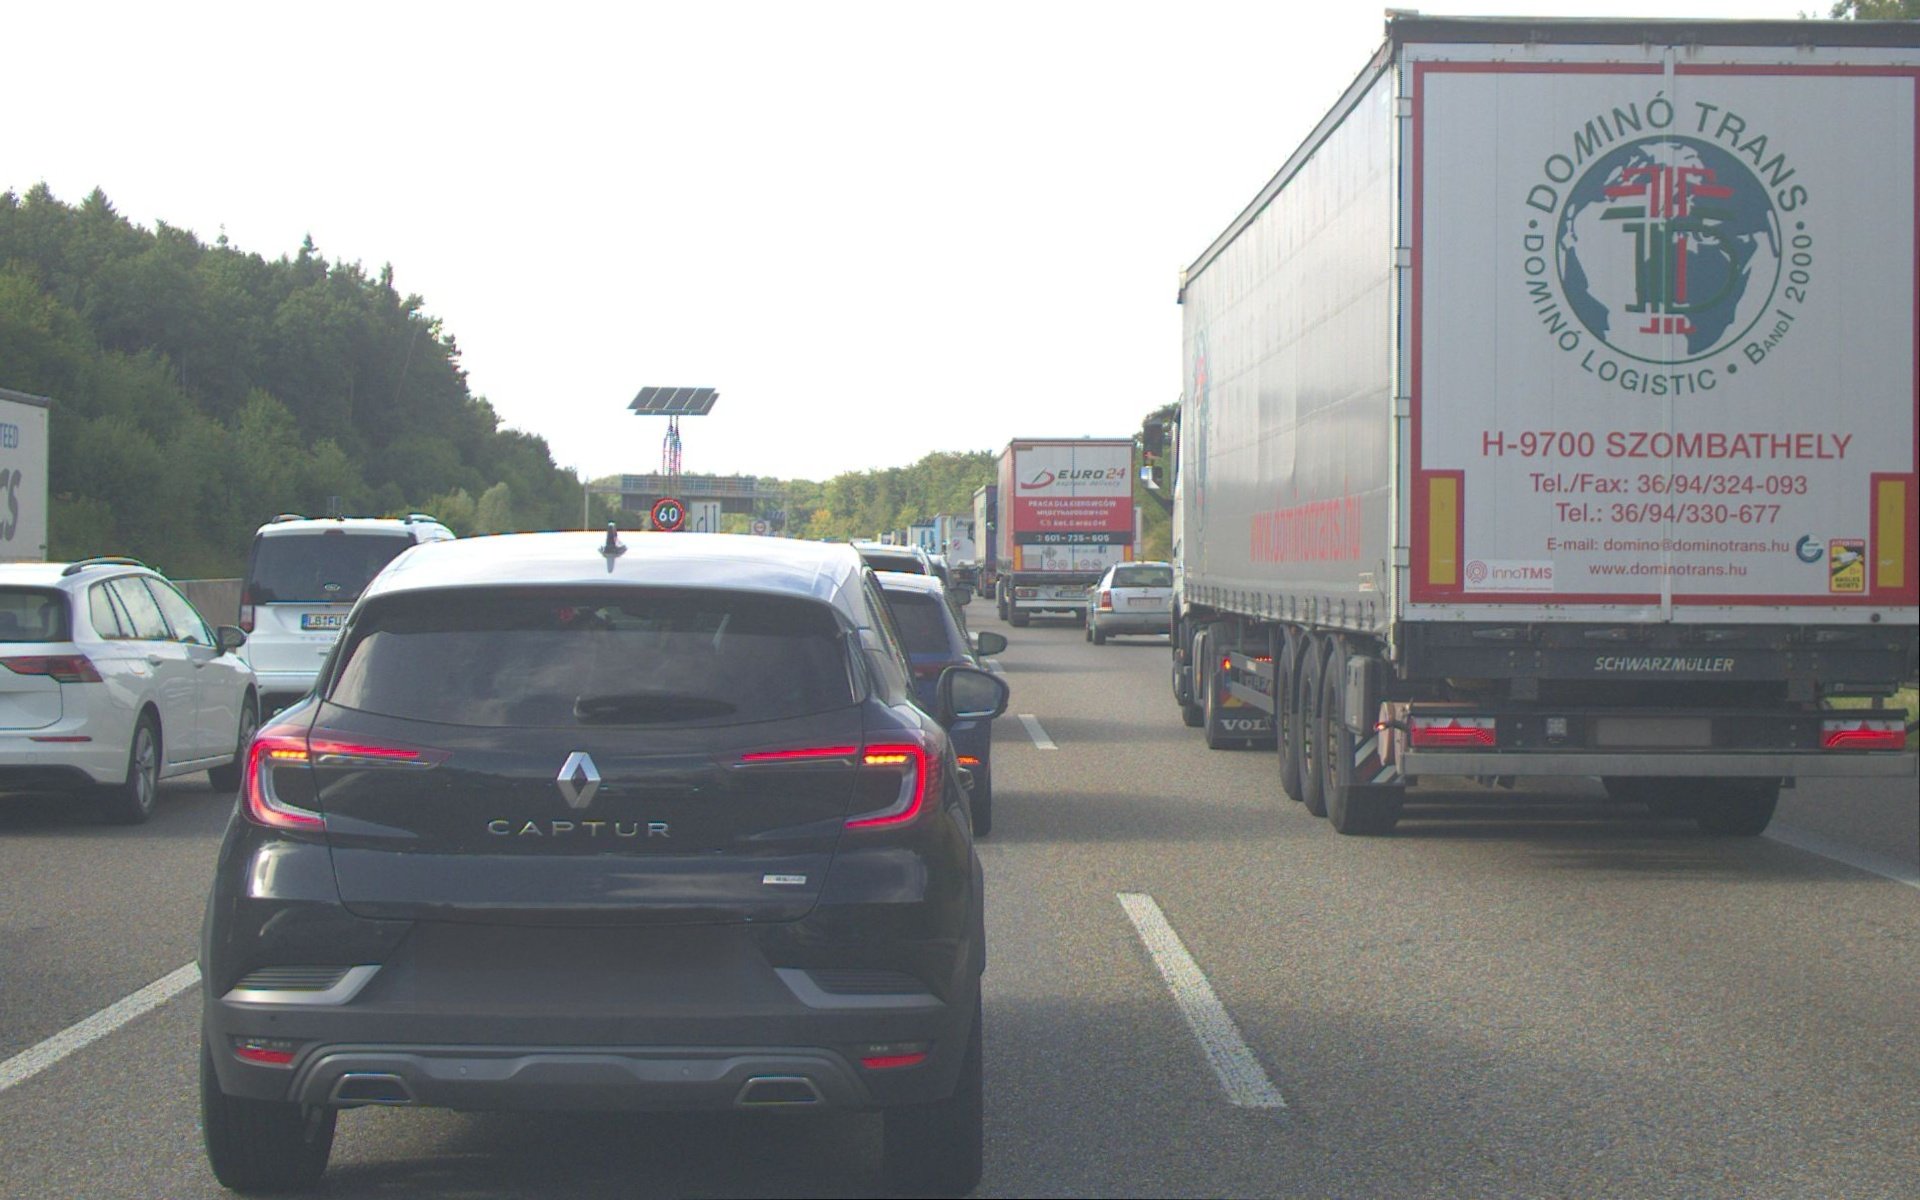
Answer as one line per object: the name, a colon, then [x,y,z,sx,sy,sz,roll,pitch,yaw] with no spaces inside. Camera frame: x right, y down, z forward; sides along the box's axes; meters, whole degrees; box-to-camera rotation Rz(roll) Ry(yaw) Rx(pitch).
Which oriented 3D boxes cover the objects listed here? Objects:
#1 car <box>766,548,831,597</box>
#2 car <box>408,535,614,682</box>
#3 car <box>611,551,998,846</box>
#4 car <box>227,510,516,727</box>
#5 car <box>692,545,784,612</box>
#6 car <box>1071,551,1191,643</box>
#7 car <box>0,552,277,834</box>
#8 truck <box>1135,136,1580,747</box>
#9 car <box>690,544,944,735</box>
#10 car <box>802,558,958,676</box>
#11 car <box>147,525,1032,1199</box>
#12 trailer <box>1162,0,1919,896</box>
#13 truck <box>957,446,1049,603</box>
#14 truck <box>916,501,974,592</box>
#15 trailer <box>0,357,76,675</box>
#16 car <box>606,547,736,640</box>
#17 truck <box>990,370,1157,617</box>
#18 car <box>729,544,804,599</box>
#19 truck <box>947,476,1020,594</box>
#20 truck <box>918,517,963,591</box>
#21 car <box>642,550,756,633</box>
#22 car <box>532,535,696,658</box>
car: [-5.443,-0.945,116.190,1.993,1.607,4.000,1,1,0]
car: [-5.245,0.084,40.570,1.855,1.635,3.925,1,0,1]
car: [-0.804,0.500,19.906,1.993,1.509,4.000,1,0,0]
car: [-5.200,0.140,30.921,1.911,1.783,4.418,1,0,-1]
car: [-5.463,-0.544,85.136,1.993,1.607,4.000,1,1,0]
car: [2.967,-0.065,60.225,1.804,1.527,3.926,1,0,-1]
car: [-5.327,0.461,19.953,1.804,1.456,4.308,0,0,1]
truck: [3.195,-1.256,29.300,2.997,4.651,5.940,0,1,-1]
car: [-1.162,0.309,29.651,1.993,1.509,4.000,1,0,0]
car: [-1.035,0.211,46.686,1.993,1.509,4.000,1,0,0]
car: [-0.743,0.598,9.225,1.805,1.547,4.000,0,1,2]
trailer: [3.284,-1.116,21.926,3.002,4.645,13.291,1,1,-1]
truck: [1.583,-2.698,127.403,3.166,5.486,12.737,1,0,0]
truck: [-0.832,-3.080,201.218,3.166,5.142,12.737,1,0,0]
trailer: [-16.786,-1.345,52.650,3.088,5.056,13.836,1,0,-1]
car: [-5.206,-0.129,62.466,1.993,1.607,4.000,1,0,0]
truck: [2.395,-2.233,77.112,3.365,5.027,12.737,1,0,0]
car: [-5.768,-0.861,102.763,1.993,1.607,4.000,1,1,0]
truck: [1.203,-3.077,167.706,3.167,5.486,12.736,1,0,2]
truck: [-1.415,-3.433,260.544,3.166,5.486,12.737,1,0,0]
car: [-5.281,-0.174,70.001,1.993,1.607,4.000,1,0,0]
car: [-5.066,-0.059,50.817,1.993,1.716,4.000,1,0,0]
